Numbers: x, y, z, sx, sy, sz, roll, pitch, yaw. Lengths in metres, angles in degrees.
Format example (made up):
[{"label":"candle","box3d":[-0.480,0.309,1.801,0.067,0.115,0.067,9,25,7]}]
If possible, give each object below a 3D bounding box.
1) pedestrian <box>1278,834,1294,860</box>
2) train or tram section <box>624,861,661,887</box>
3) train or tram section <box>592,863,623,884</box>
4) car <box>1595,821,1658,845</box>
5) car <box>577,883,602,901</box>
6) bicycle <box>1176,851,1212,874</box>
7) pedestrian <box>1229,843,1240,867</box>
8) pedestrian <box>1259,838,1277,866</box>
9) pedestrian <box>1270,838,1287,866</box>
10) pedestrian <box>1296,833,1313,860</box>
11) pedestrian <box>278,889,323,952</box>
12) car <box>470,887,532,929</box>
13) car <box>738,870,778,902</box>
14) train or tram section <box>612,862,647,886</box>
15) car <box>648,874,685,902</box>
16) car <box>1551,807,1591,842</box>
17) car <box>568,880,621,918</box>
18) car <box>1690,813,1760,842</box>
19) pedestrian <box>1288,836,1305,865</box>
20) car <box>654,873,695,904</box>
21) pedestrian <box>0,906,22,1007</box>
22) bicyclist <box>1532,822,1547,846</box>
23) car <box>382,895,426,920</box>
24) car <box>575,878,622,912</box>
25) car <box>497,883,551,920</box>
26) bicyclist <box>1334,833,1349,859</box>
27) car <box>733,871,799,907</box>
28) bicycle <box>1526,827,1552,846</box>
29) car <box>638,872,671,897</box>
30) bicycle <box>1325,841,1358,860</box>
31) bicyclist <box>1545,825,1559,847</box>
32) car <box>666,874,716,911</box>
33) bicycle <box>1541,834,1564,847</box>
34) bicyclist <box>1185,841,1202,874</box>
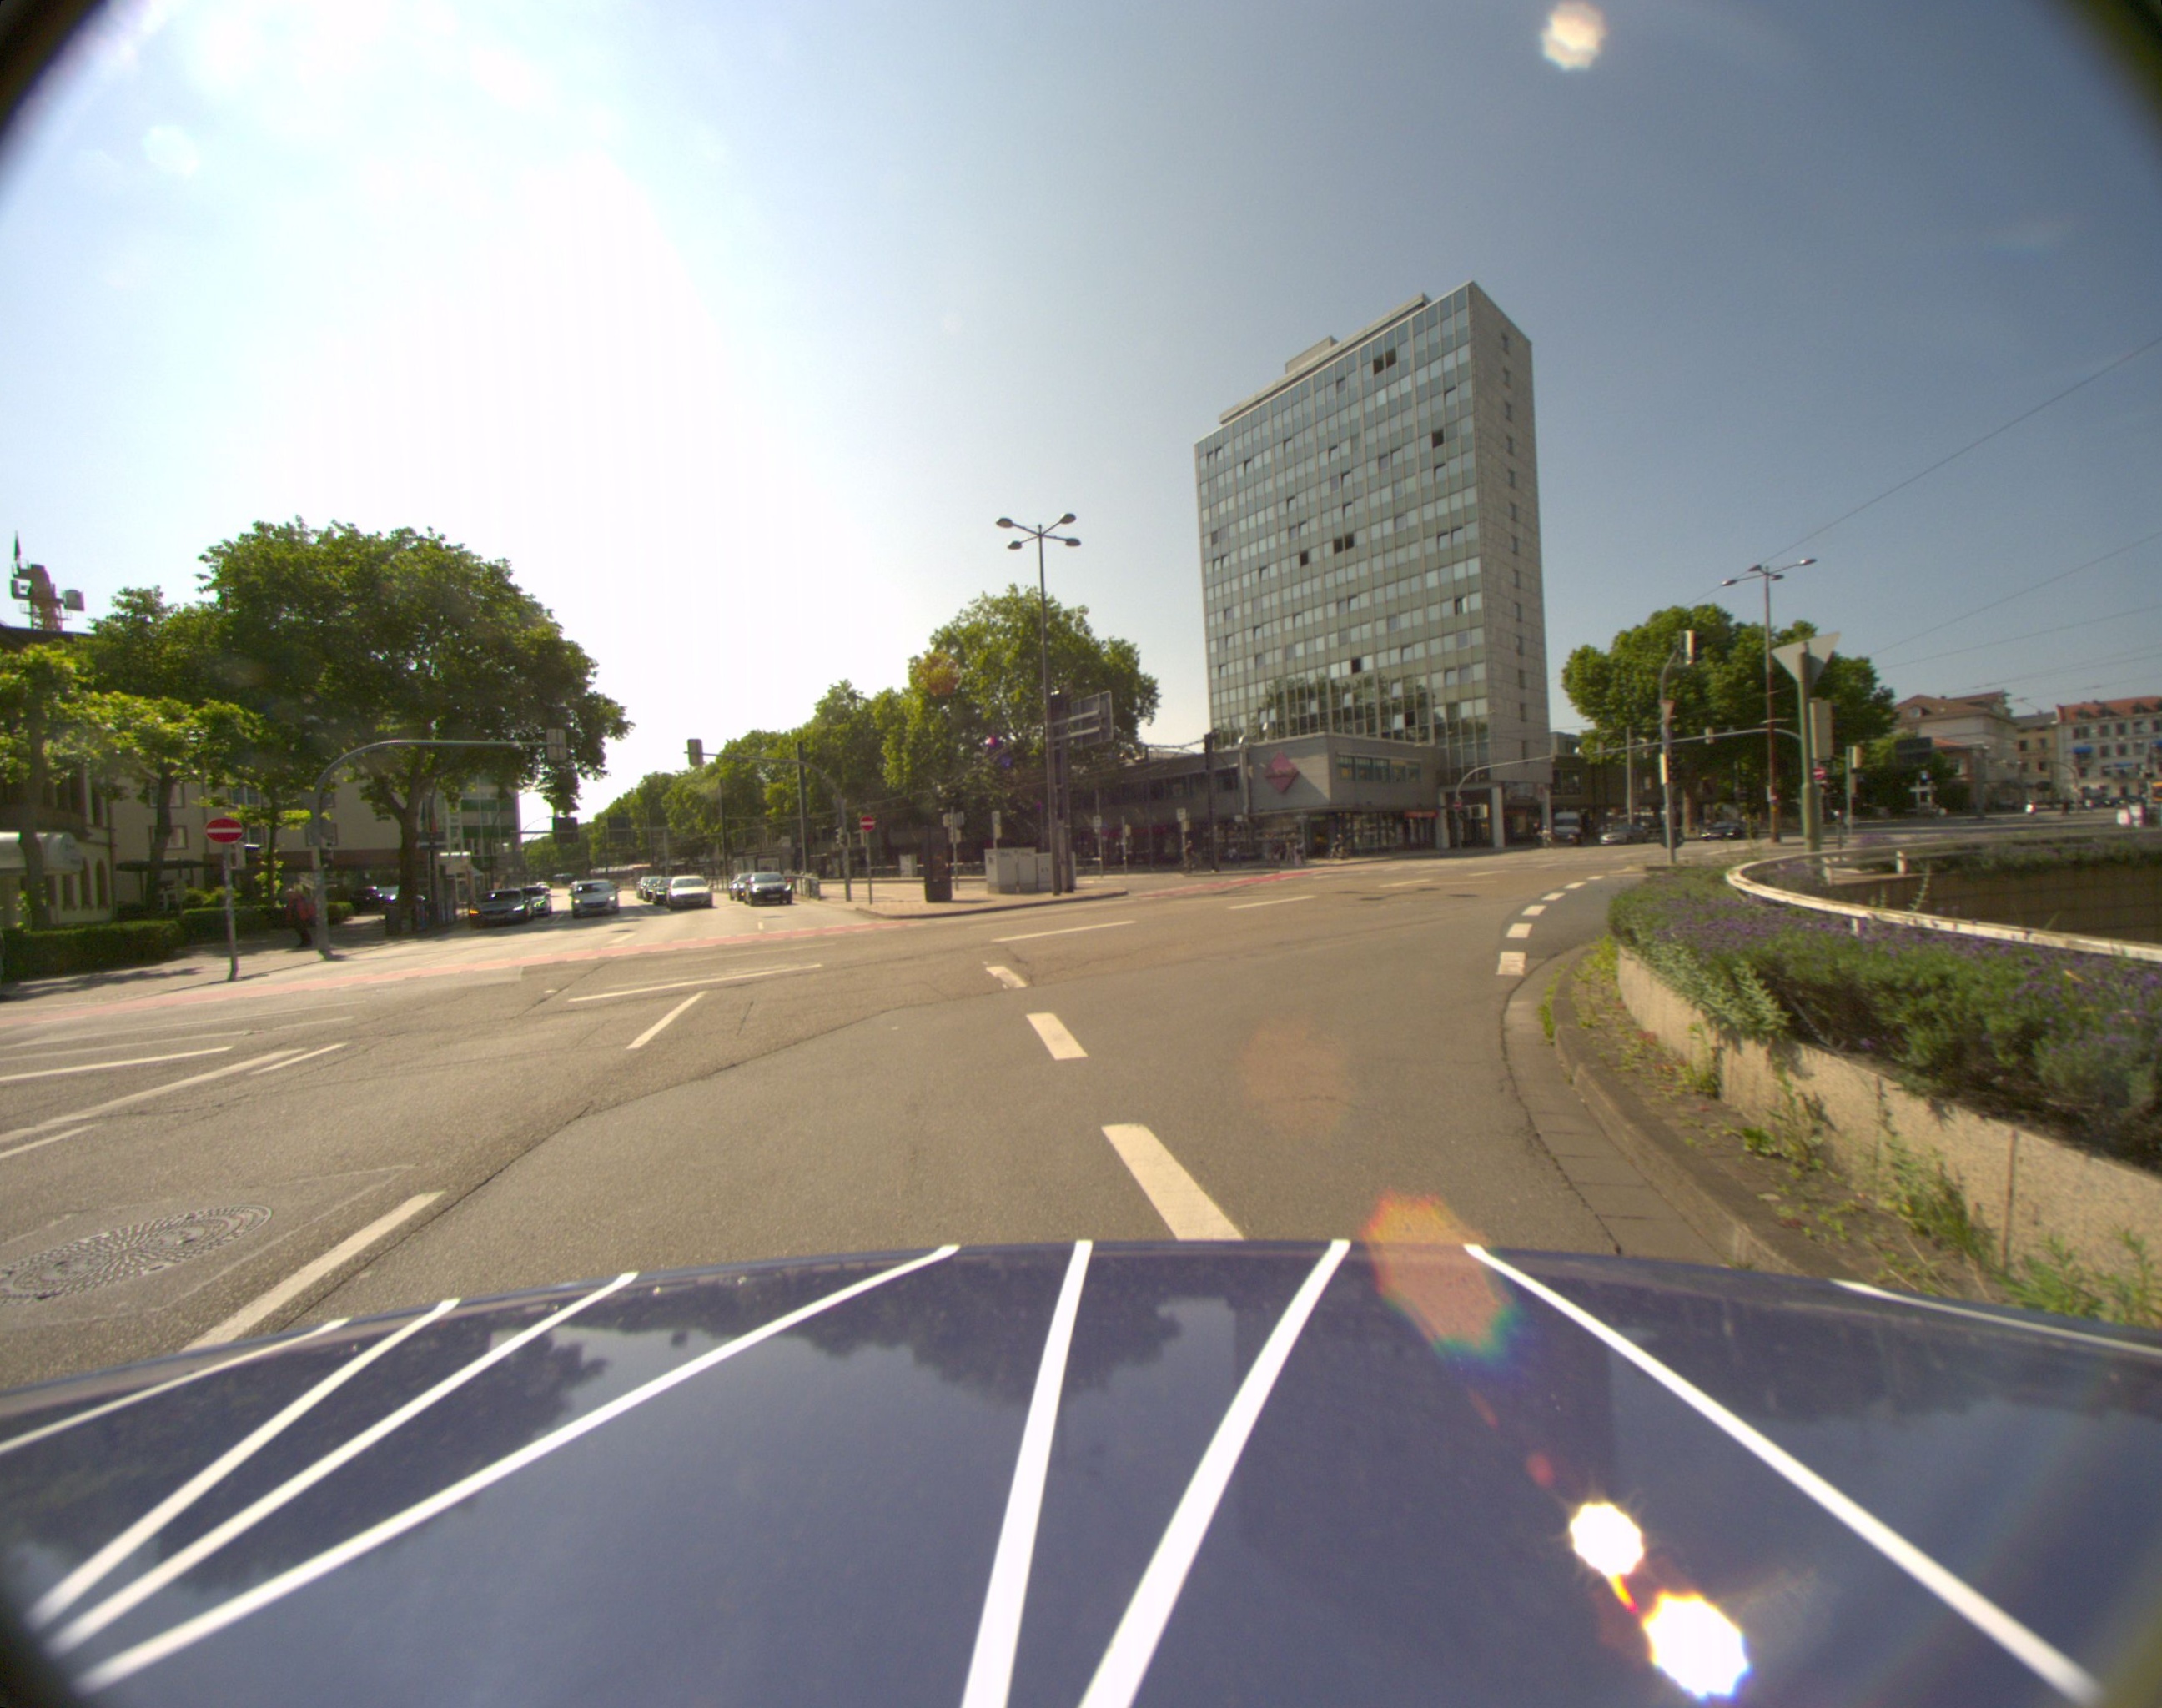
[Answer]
[{"label":"pedestrian","box3d":[14.281,-0.471,52.859,0.823,1.796,0.671,-2,1,-5]},{"label":"train or tram section","box3d":[-61.218,2.815,105.965,2.740,3.249,8.714,-4,1,-41]},{"label":"train or tram section","box3d":[-78.386,3.287,125.654,2.740,3.249,8.714,-4,1,-41]},{"label":"car","box3d":[38.529,-1.481,53.650,4.169,1.452,1.879,-4,1,-27]},{"label":"car","box3d":[-43.625,3.369,67.477,1.795,1.443,3.964,-2,0,-32]},{"label":"bicycle","box3d":[6.028,0.455,40.468,1.817,1.160,0.521,-2,1,-13]},{"label":"pedestrian","box3d":[10.452,0.070,51.673,0.599,1.629,0.566,-2,1,15]},{"label":"pedestrian","box3d":[12.226,-0.137,49.688,0.825,1.825,0.733,-3,2,-41]},{"label":"pedestrian","box3d":[12.710,-0.129,48.951,0.825,1.825,0.669,-3,2,-41]},{"label":"pedestrian","box3d":[14.968,-0.502,50.991,0.823,1.825,0.670,-2,1,-10]},{"label":"pedestrian","box3d":[-23.243,1.964,22.644,0.727,1.795,0.651,-4,1,-34]},{"label":"car","box3d":[-23.165,2.105,30.456,1.795,1.443,3.964,-2,0,-35]},{"label":"car","box3d":[-17.409,1.684,40.867,1.794,1.508,3.966,-2,0,-25]},{"label":"train or tram section","box3d":[-66.935,2.972,112.498,2.740,3.249,8.714,-4,1,-41]},{"label":"car","box3d":[-24.730,1.989,45.432,1.795,1.514,3.965,-2,0,-27]},{"label":"car","box3d":[43.610,-2.642,67.587,4.644,2.899,1.743,-4,1,-43]},{"label":"car","box3d":[-21.086,1.902,32.944,1.795,1.443,3.964,-2,0,-33]},{"label":"car","box3d":[40.154,-1.658,47.351,4.084,1.525,1.879,-4,1,-27]},{"label":"pedestrian","box3d":[13.837,-0.225,48.863,0.825,1.825,0.669,-3,2,-42]},{"label":"car","box3d":[-21.747,1.809,40.701,1.795,1.514,3.965,-2,0,-27]},{"label":"pedestrian","box3d":[-20.131,1.903,13.887,0.590,1.835,0.730,-3,1,27]},{"label":"bicyclist","box3d":[34.518,-1.536,57.211,0.685,1.759,0.695,-4,3,-23]},{"label":"car","box3d":[-42.354,3.299,47.590,1.593,1.314,3.571,-4,1,-36]},{"label":"car","box3d":[-24.653,2.072,38.908,1.795,1.521,3.965,-2,0,-30]},{"label":"car","box3d":[-26.246,2.195,35.917,1.795,1.516,3.964,-2,0,-33]},{"label":"bicyclist","box3d":[17.102,-0.532,49.879,0.684,1.677,0.583,-3,1,-10]},{"label":"car","box3d":[-14.286,1.529,34.345,1.795,1.443,4.269,-2,0,-36]},{"label":"bicycle","box3d":[34.486,-1.304,57.195,1.942,1.292,0.715,-4,3,-24]},{"label":"car","box3d":[-29.295,2.063,52.239,1.795,1.514,3.965,-2,0,-27]},{"label":"bicycle","box3d":[17.089,-0.236,49.886,1.969,1.096,0.576,-3,1,-10]},{"label":"bicyclist","box3d":[34.095,-1.292,54.997,0.685,1.518,0.581,-4,3,-30]},{"label":"car","box3d":[-17.660,1.691,34.274,1.723,1.491,4.481,-2,-1,-30]},{"label":"bicycle","box3d":[34.147,-0.974,55.030,1.813,0.878,0.591,-4,3,-30]},{"label":"bicyclist","box3d":[6.007,0.174,40.461,0.684,1.697,0.521,-3,2,-13]}]
